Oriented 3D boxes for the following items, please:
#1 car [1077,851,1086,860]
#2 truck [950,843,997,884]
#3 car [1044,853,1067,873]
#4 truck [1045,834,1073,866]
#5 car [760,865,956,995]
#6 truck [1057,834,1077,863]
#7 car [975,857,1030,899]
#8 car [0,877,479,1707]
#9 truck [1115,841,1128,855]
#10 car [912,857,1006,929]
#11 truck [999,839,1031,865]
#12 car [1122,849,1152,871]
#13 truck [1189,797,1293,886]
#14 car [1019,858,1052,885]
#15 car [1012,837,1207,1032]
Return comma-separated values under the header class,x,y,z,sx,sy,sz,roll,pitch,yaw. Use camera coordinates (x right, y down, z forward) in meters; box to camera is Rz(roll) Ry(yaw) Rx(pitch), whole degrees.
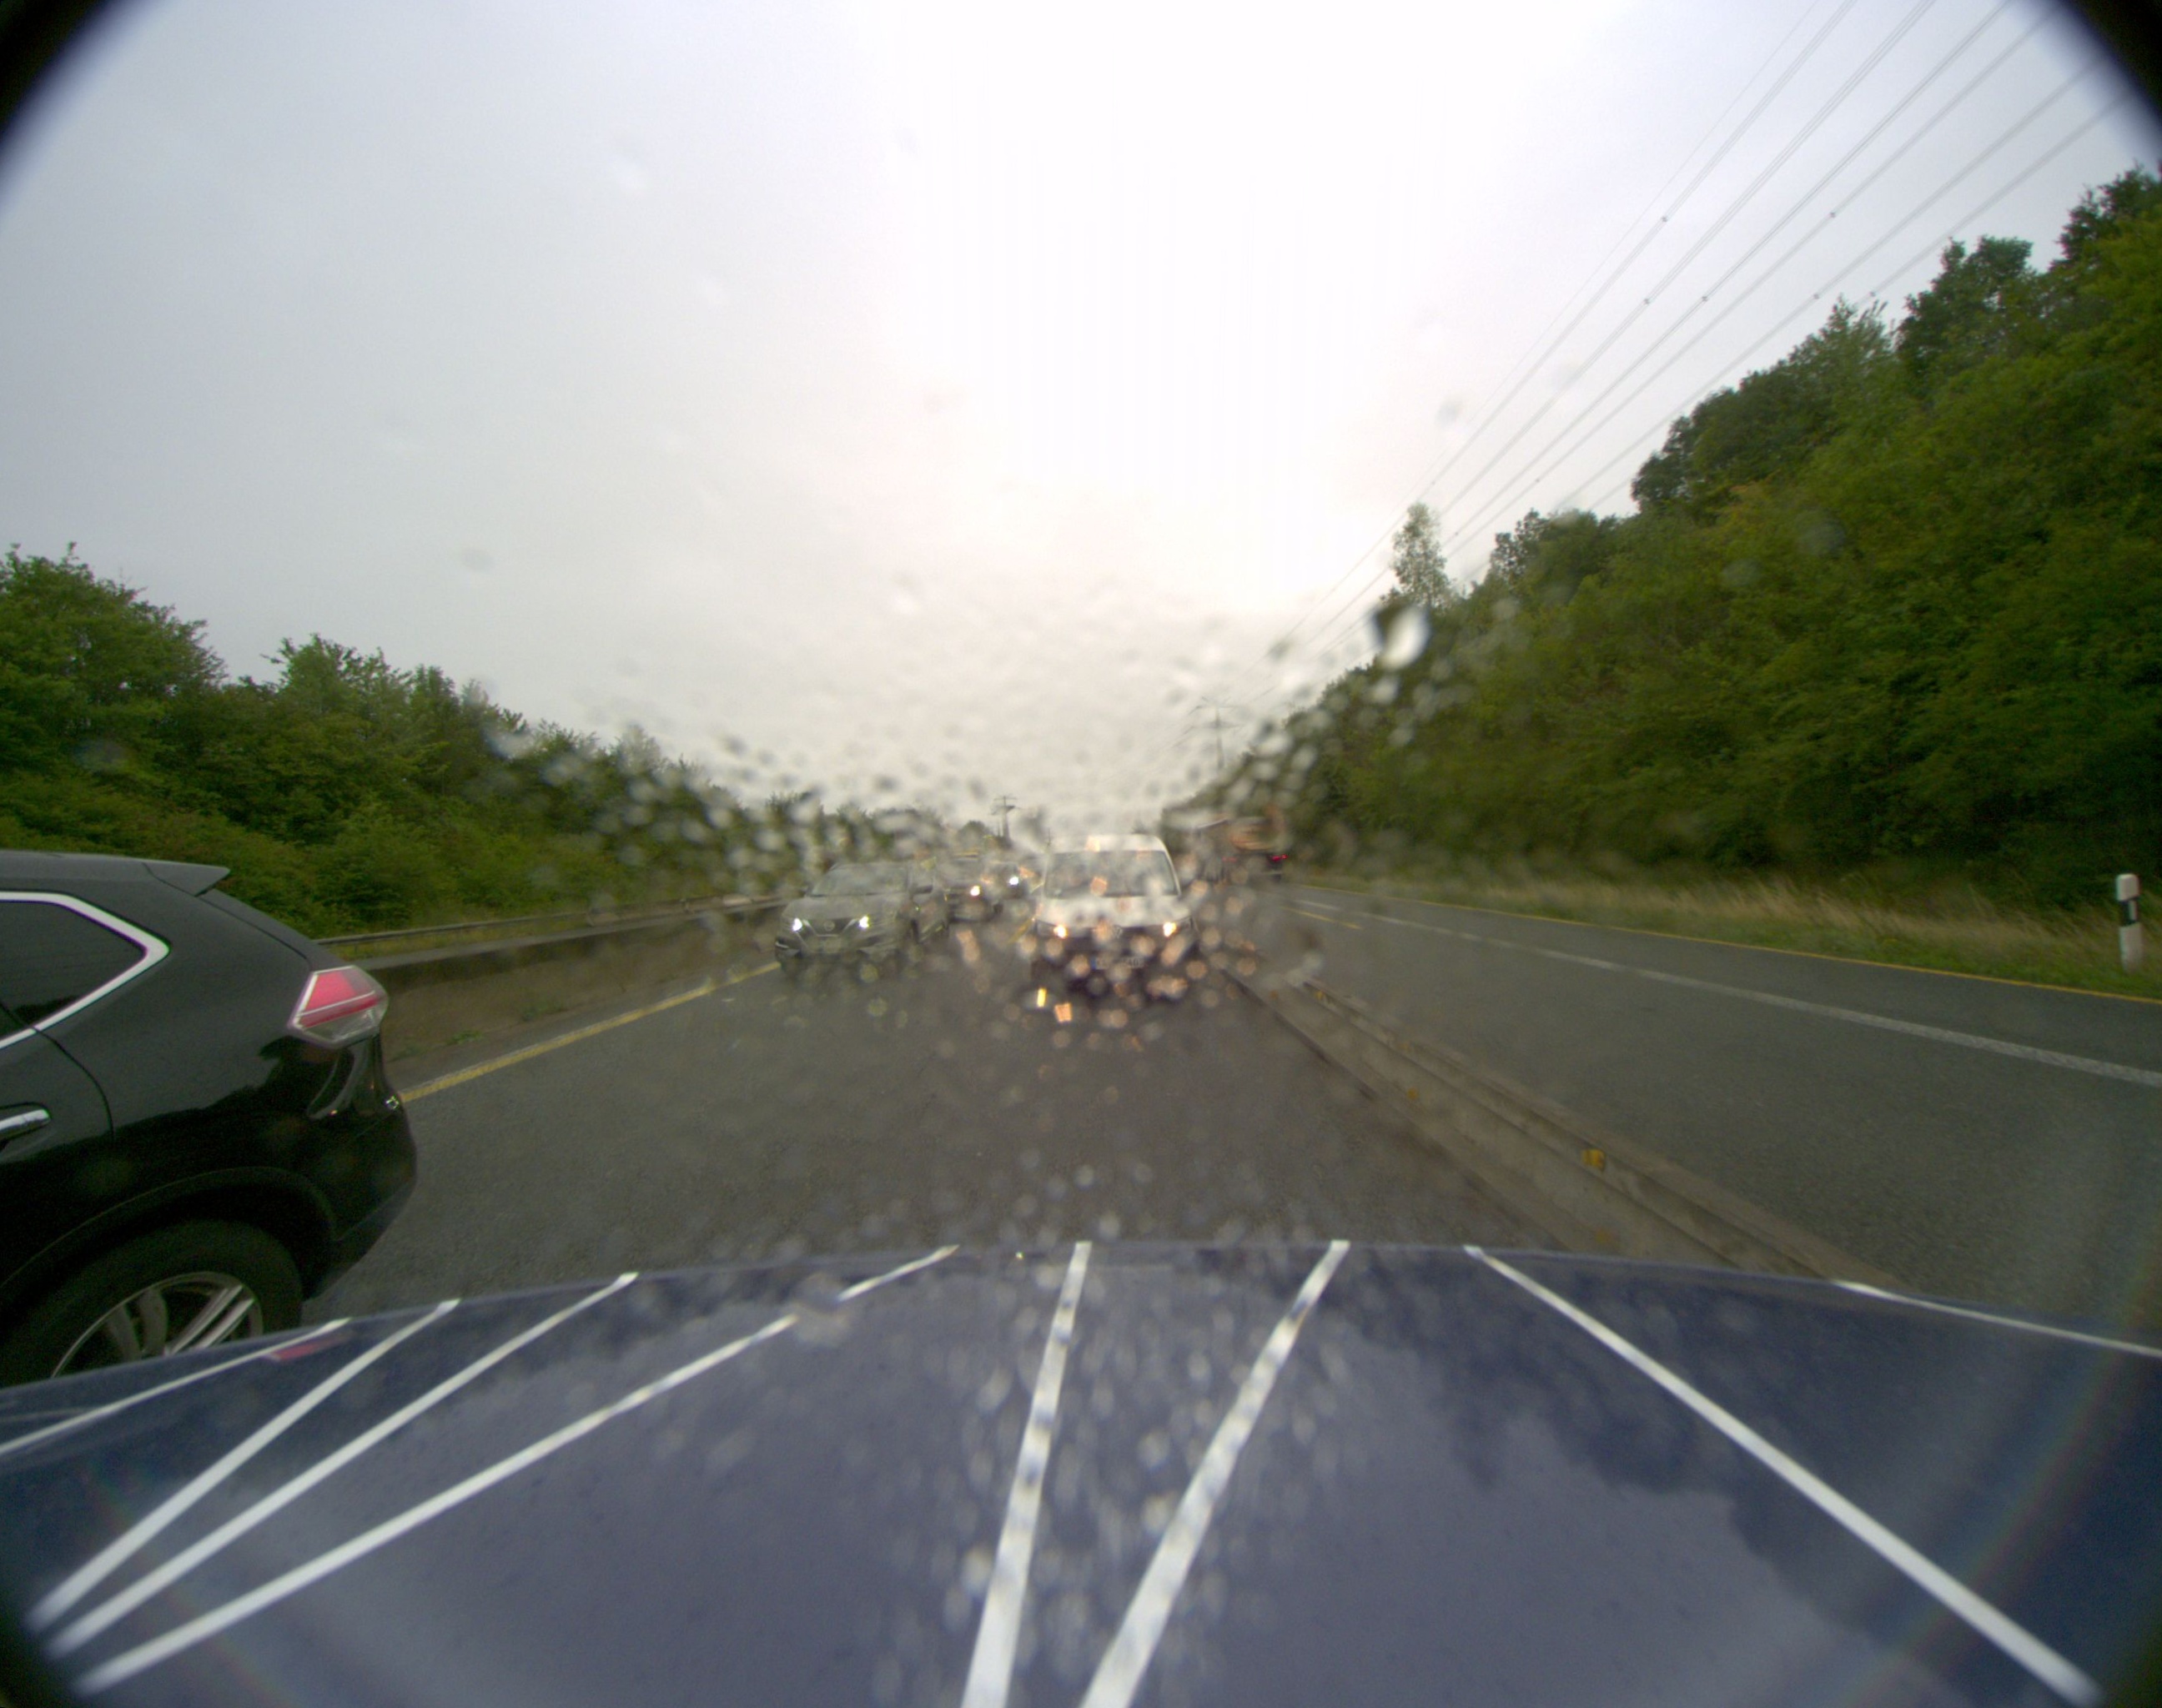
class,x,y,z,sx,sy,sz,roll,pitch,yaw
car,0.143,0.233,142.975,1.651,1.559,3.999,-2,1,0
truck,-9.750,0.753,70.009,2.619,3.404,9.575,-2,1,2
car,-2.079,0.704,62.696,1.784,1.482,4.123,-2,1,0
truck,-2.415,-0.452,87.255,2.619,3.404,9.575,-2,1,2
car,-3.174,1.002,11.746,1.784,1.482,4.123,-2,1,0
truck,-1.896,-0.837,107.376,2.619,3.869,9.574,-2,1,0
car,-3.095,0.917,30.716,1.784,1.482,4.123,-2,1,0
car,-3.108,0.974,0.362,1.894,1.665,4.640,-2,1,0
truck,10.003,-1.455,188.981,2.541,3.333,12.049,-2,1,1
car,-3.113,0.950,20.205,1.784,1.589,4.123,-2,1,0
truck,-9.440,-0.335,109.123,3.329,3.404,9.575,-2,1,2
car,4.289,0.445,58.659,1.940,1.598,4.119,-2,1,1
truck,7.634,-0.591,38.269,2.688,3.635,12.310,-2,1,1
car,-2.823,1.052,47.917,1.784,1.482,4.123,-2,1,0
car,0.256,0.737,9.523,1.784,1.775,4.697,-2,1,0
